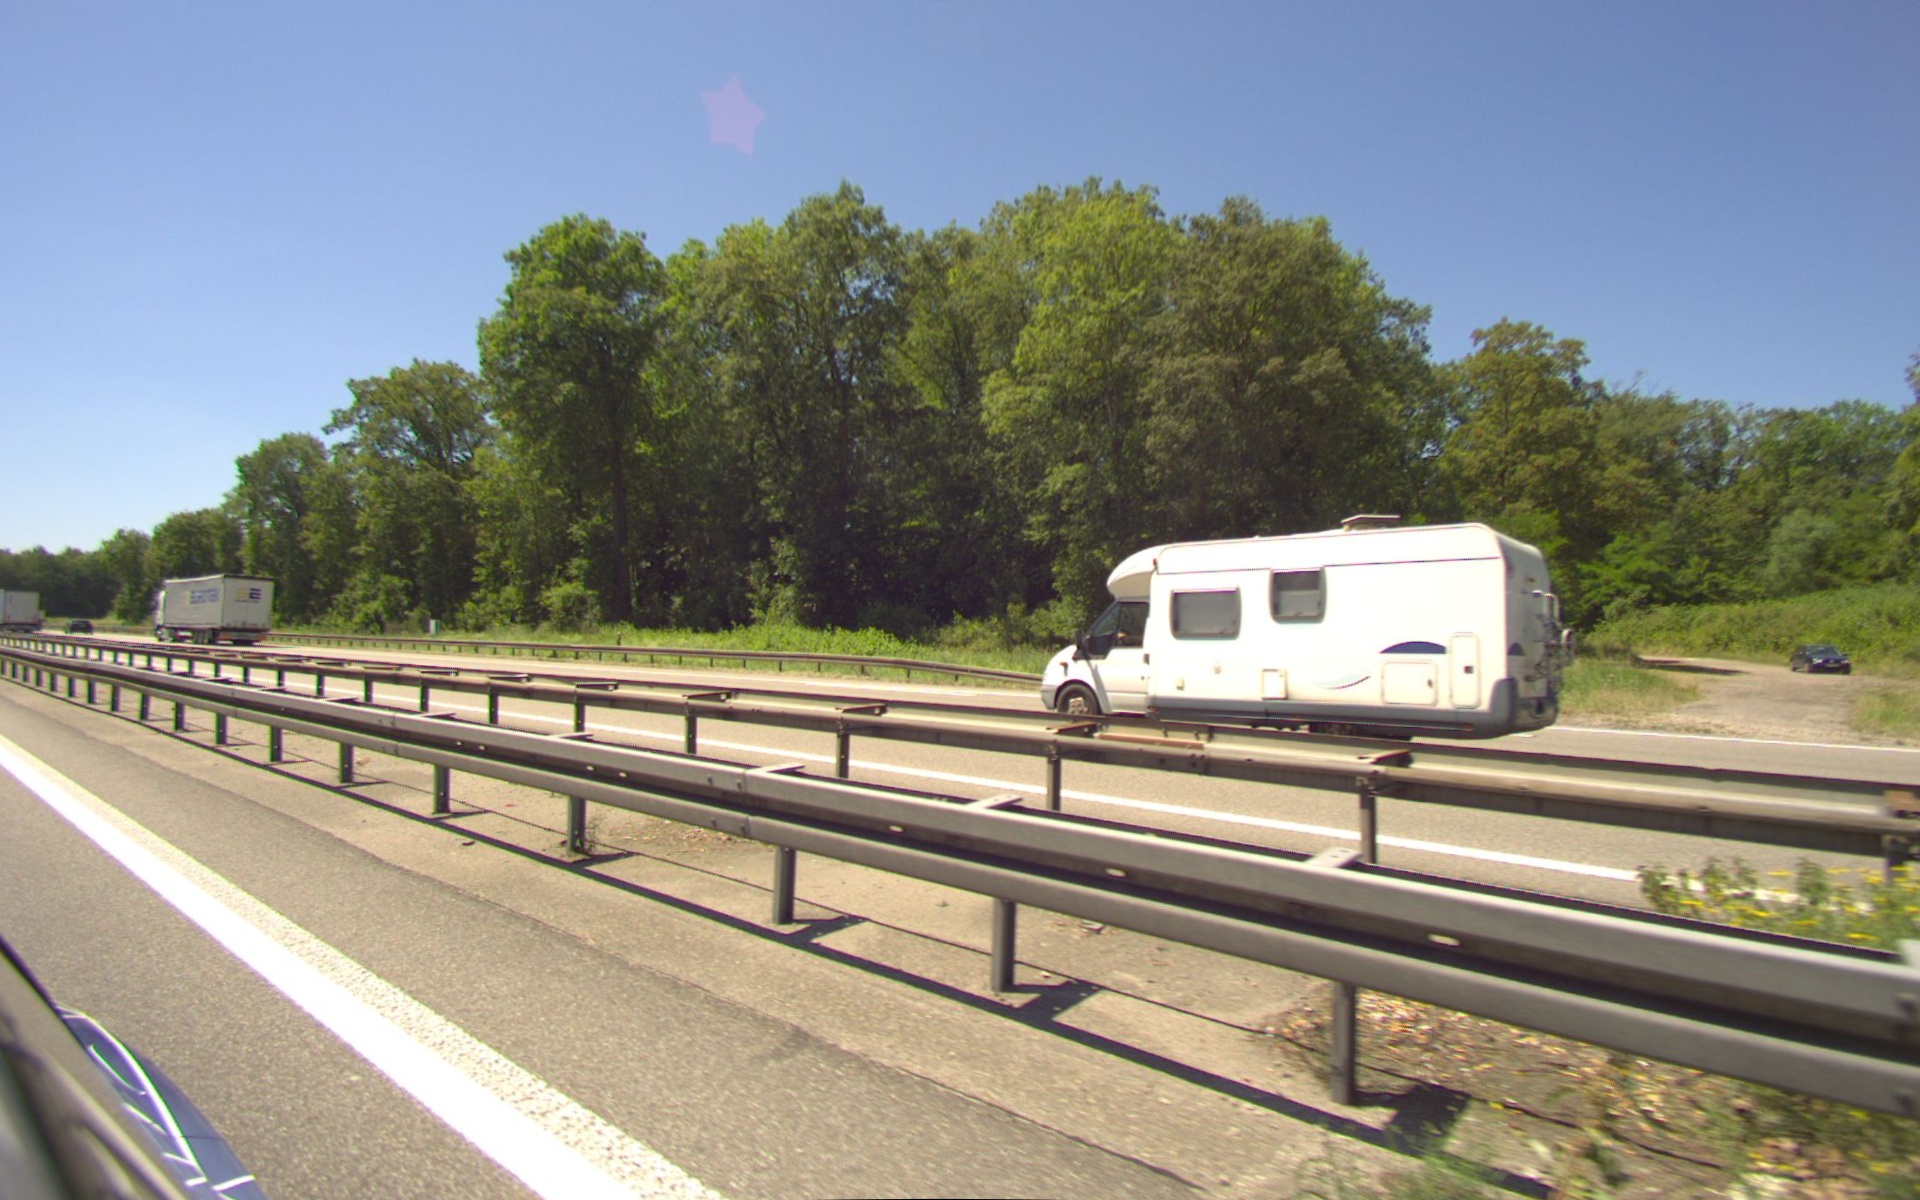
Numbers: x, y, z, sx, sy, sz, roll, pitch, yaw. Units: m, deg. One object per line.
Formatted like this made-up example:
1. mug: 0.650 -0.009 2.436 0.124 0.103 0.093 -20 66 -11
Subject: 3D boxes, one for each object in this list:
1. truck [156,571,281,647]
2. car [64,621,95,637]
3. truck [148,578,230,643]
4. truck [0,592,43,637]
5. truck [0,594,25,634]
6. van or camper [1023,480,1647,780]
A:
1. truck: -46.810 0.620 63.633 13.952 4.284 3.034 0 -4 41
2. car: -84.579 2.797 97.199 4.010 1.547 1.805 -1 -2 43
3. truck: -51.717 0.731 67.818 6.456 4.093 2.938 -1 -4 41
4. truck: -92.515 1.370 98.588 13.928 4.049 2.956 0 0 41
5. truck: -97.487 1.412 102.842 6.037 4.049 2.956 -1 0 41
6. van or camper: 4.489 0.365 13.259 7.230 2.929 2.565 -1 -3 41
